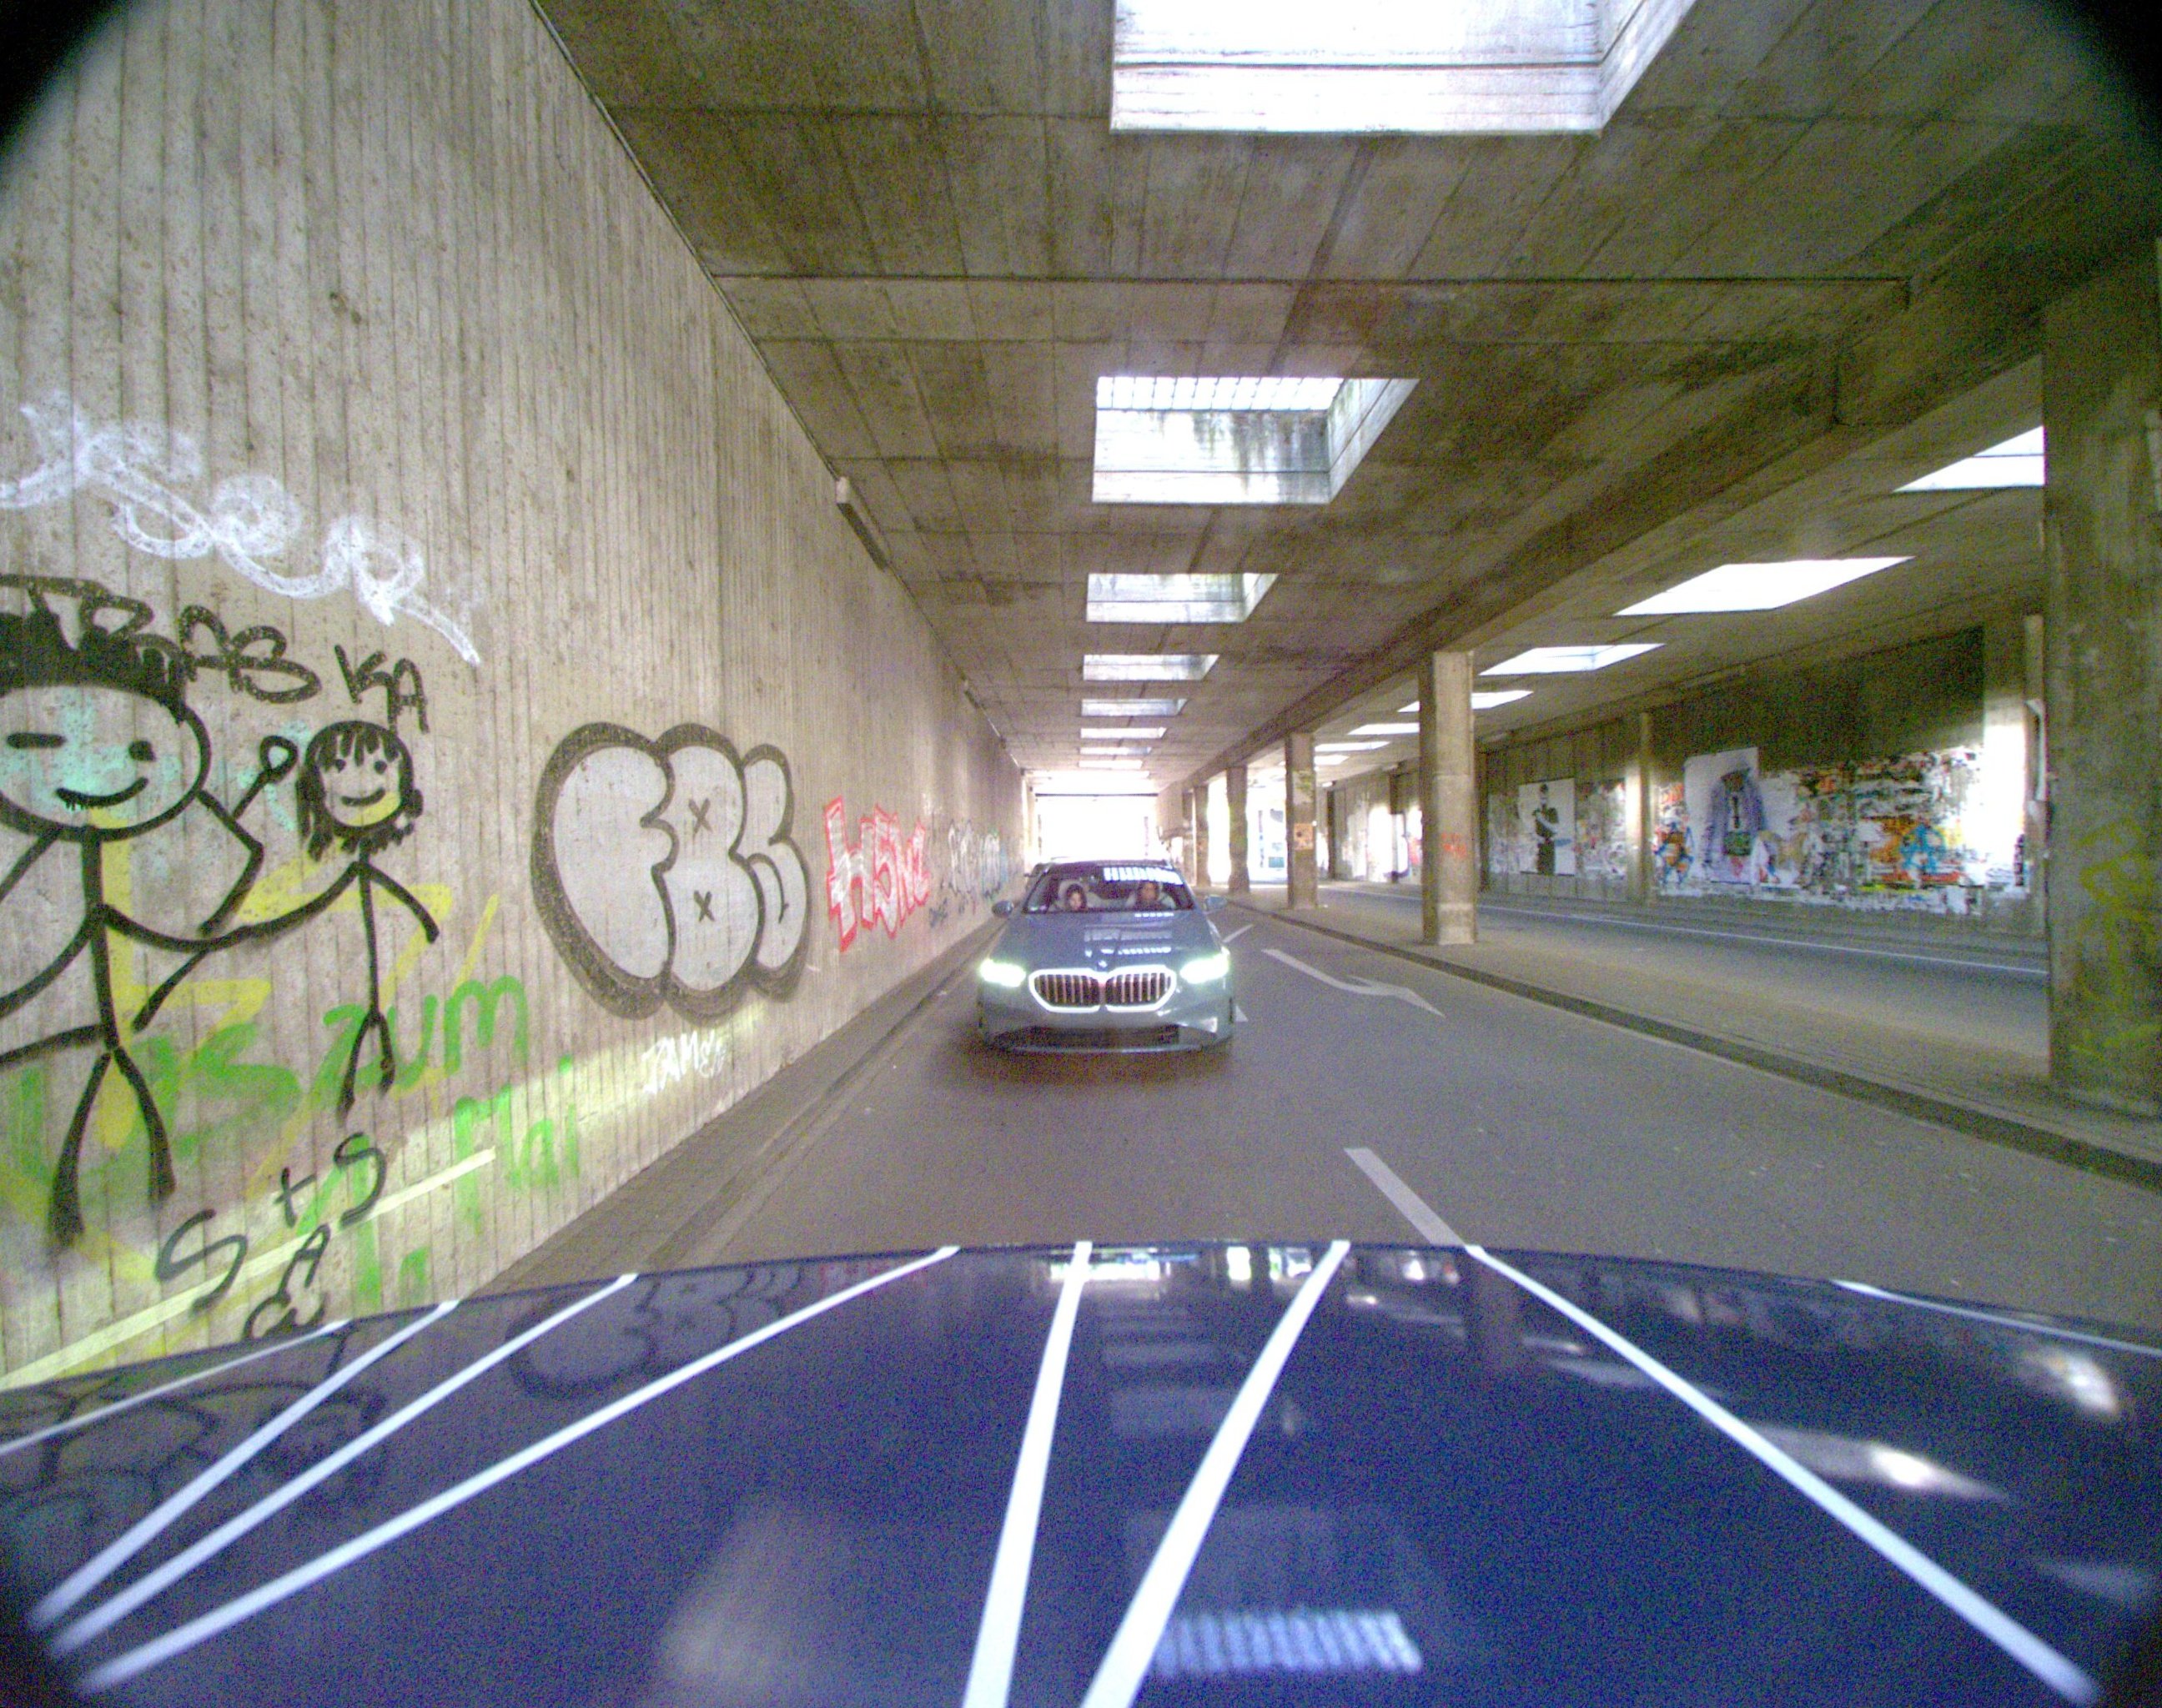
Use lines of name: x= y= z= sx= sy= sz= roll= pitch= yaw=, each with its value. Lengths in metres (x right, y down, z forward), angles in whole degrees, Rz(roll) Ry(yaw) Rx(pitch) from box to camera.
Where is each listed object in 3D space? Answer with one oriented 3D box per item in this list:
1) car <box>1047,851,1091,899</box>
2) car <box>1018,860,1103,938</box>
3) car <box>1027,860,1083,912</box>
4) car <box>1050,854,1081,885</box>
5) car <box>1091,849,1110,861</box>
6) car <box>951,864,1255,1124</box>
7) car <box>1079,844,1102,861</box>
car: x=-0.464 y=0.774 z=29.917 sx=1.592 sy=1.711 sz=3.694 roll=-2 pitch=0 yaw=0
car: x=-0.427 y=0.922 z=17.284 sx=1.679 sy=1.516 sz=3.969 roll=-2 pitch=0 yaw=0
car: x=-0.763 y=0.950 z=23.910 sx=1.592 sy=1.432 sz=3.806 roll=-2 pitch=0 yaw=0
car: x=-0.807 y=0.808 z=41.244 sx=1.592 sy=1.562 sz=3.694 roll=-2 pitch=0 yaw=0
car: x=2.481 y=0.145 z=97.964 sx=1.741 sy=1.519 sz=3.786 roll=-2 pitch=0 yaw=-9
car: x=0.125 y=0.908 z=7.275 sx=1.861 sy=1.516 sz=5.042 roll=-2 pitch=0 yaw=0
car: x=1.284 y=-0.185 z=103.656 sx=2.161 sy=2.150 sz=4.785 roll=-2 pitch=0 yaw=-12
